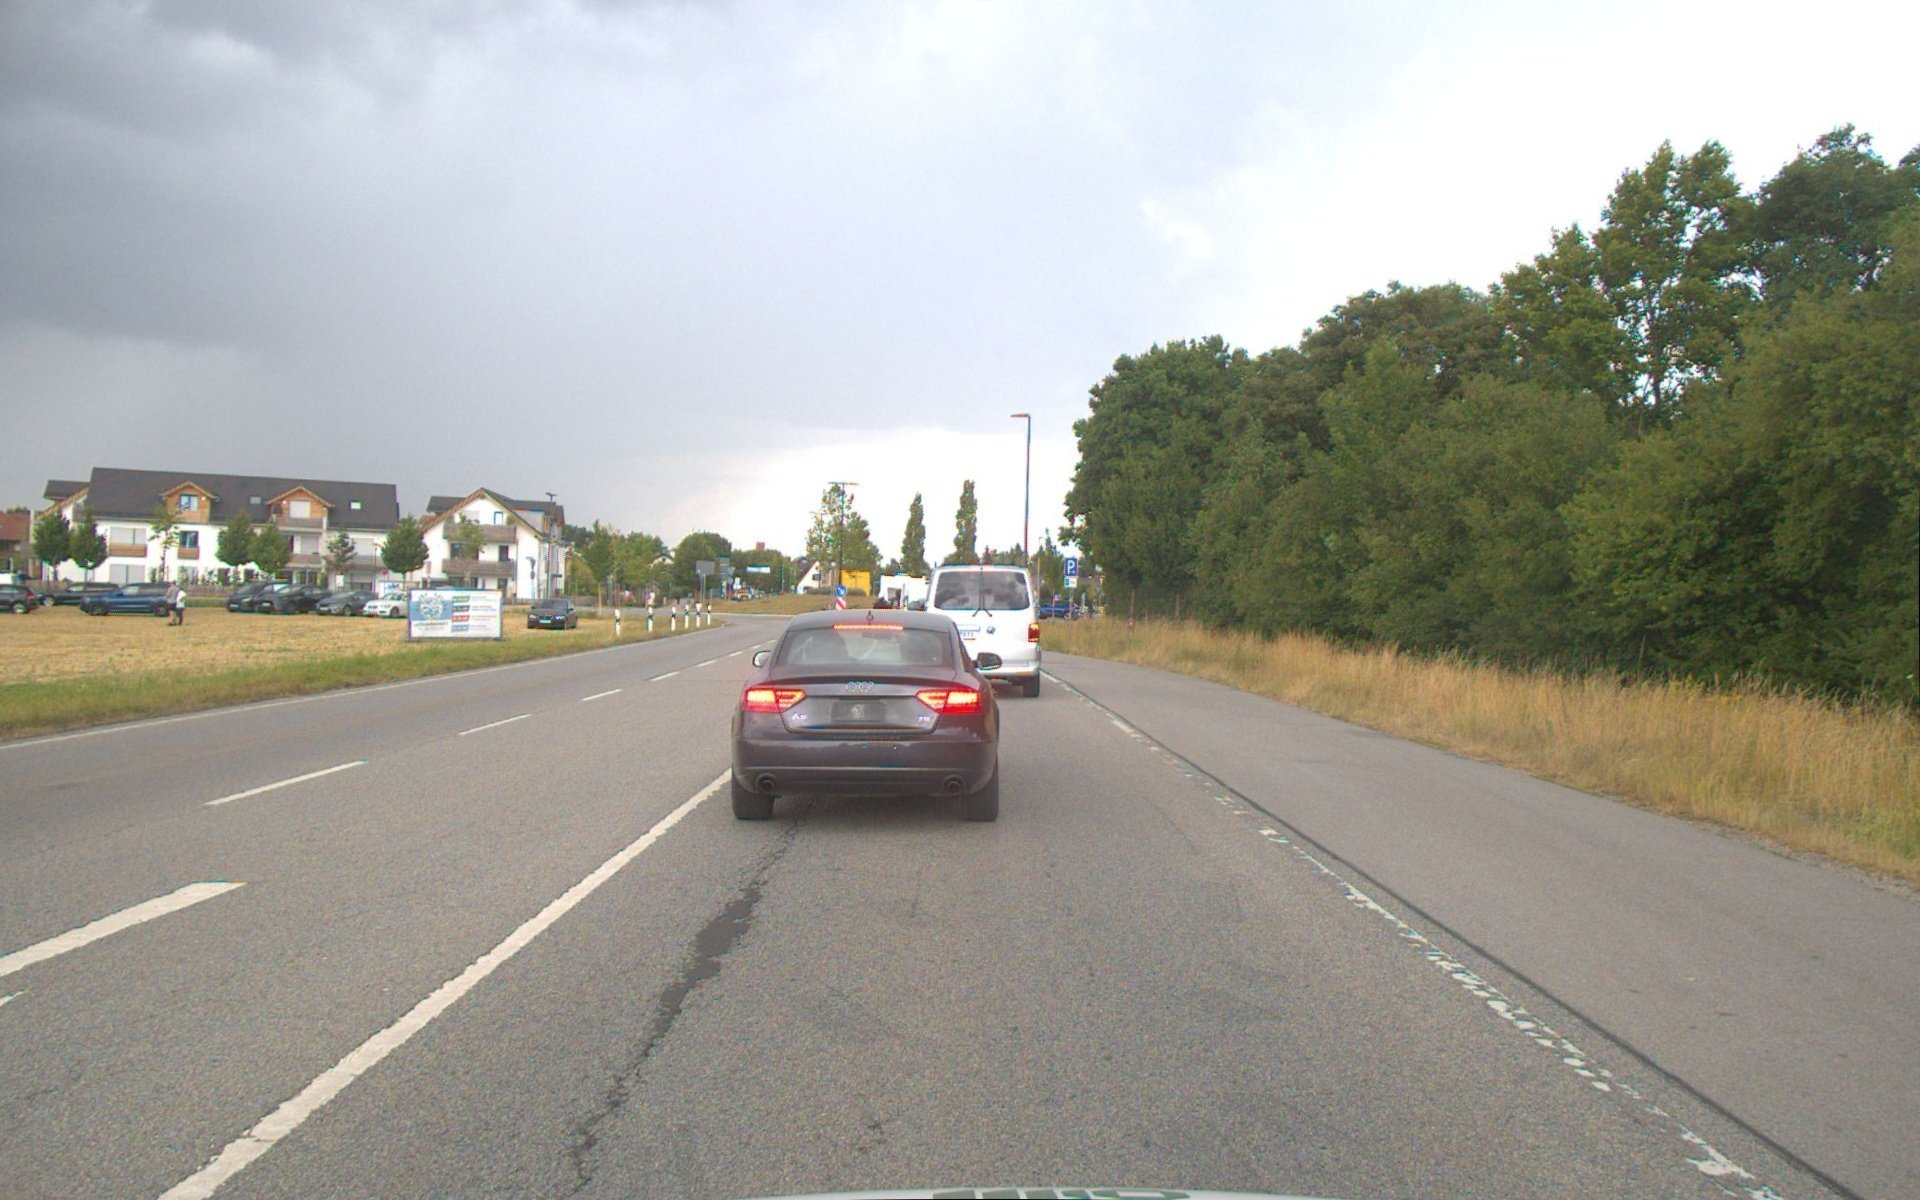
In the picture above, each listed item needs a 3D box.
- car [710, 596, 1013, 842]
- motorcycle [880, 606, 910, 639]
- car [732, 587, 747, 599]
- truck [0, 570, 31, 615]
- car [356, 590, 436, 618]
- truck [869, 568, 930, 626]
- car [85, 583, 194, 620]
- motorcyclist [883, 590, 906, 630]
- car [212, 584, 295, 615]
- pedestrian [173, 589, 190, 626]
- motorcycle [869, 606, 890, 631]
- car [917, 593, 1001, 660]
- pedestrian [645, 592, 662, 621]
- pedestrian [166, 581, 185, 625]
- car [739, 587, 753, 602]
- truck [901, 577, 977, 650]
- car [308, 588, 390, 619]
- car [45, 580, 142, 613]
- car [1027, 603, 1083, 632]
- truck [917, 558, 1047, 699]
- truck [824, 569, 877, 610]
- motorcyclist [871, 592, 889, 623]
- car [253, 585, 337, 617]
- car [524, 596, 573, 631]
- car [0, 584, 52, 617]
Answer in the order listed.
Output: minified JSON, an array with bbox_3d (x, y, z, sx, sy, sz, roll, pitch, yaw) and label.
[{"bbox_3d":[-0.594,0.729,12.196,1.836,1.479,4.177,1,0,0],"label":"car"},{"bbox_3d":[-2.327,0.802,59.477,0.901,1.113,2.189,1,0,1],"label":"motorcycle"},{"bbox_3d":[-32.931,-1.057,246.774,1.954,1.670,3.996,2,0,-4],"label":"car"},{"bbox_3d":[-49.867,-0.424,82.820,5.489,2.235,2.589,1,0,-23],"label":"truck"},{"bbox_3d":[-30.392,0.221,89.265,1.952,1.471,4.213,1,0,18],"label":"car"},{"bbox_3d":[-3.157,-0.134,84.453,2.576,2.785,5.858,2,0,-7],"label":"truck"},{"bbox_3d":[-40.790,0.065,82.333,4.647,1.727,1.988,1,0,-21],"label":"car"},{"bbox_3d":[-2.342,0.348,59.397,0.756,1.407,0.820,1,0,1],"label":"motorcyclist"},{"bbox_3d":[-39.314,-0.044,92.141,1.952,1.657,4.213,1,0,18],"label":"car"},{"bbox_3d":[-33.446,0.321,71.048,0.580,1.583,0.622,1,0,-19],"label":"pedestrian"},{"bbox_3d":[-3.569,0.822,73.226,0.925,1.037,2.282,1,0,-3],"label":"motorcycle"},{"bbox_3d":[-0.050,0.627,40.664,1.953,1.511,3.999,1,0,-1],"label":"car"},{"bbox_3d":[-17.286,0.380,93.184,0.686,1.613,0.658,1,0,17],"label":"pedestrian"},{"bbox_3d":[-33.264,0.132,70.157,0.538,1.817,0.676,1,0,-12],"label":"pedestrian"},{"bbox_3d":[-31.006,-0.823,239.378,1.956,2.049,3.994,2,0,-7],"label":"car"},{"bbox_3d":[-0.588,0.381,49.956,2.149,2.049,5.084,1,0,0],"label":"truck"},{"bbox_3d":[-33.102,0.187,89.664,1.952,1.562,4.213,1,0,18],"label":"car"},{"bbox_3d":[-49.101,-0.188,93.803,4.558,1.727,1.988,1,0,-21],"label":"car"},{"bbox_3d":[7.333,1.337,127.538,3.905,2.049,2.000,2,0,20],"label":"car"},{"bbox_3d":[0.332,0.409,26.585,1.865,2.033,4.628,1,0,0],"label":"truck"},{"bbox_3d":[-10.284,-1.009,154.285,3.513,3.640,9.927,2,0,-12],"label":"truck"},{"bbox_3d":[-3.550,0.327,73.269,0.770,1.380,0.853,1,0,-3],"label":"motorcyclist"},{"bbox_3d":[-36.198,0.044,90.104,1.952,1.657,4.213,1,0,18],"label":"car"},{"bbox_3d":[-19.023,0.600,76.537,1.958,1.467,3.990,1,1,-11],"label":"car"},{"bbox_3d":[-46.417,-0.006,80.001,4.095,1.545,1.988,1,0,-21],"label":"car"}]
